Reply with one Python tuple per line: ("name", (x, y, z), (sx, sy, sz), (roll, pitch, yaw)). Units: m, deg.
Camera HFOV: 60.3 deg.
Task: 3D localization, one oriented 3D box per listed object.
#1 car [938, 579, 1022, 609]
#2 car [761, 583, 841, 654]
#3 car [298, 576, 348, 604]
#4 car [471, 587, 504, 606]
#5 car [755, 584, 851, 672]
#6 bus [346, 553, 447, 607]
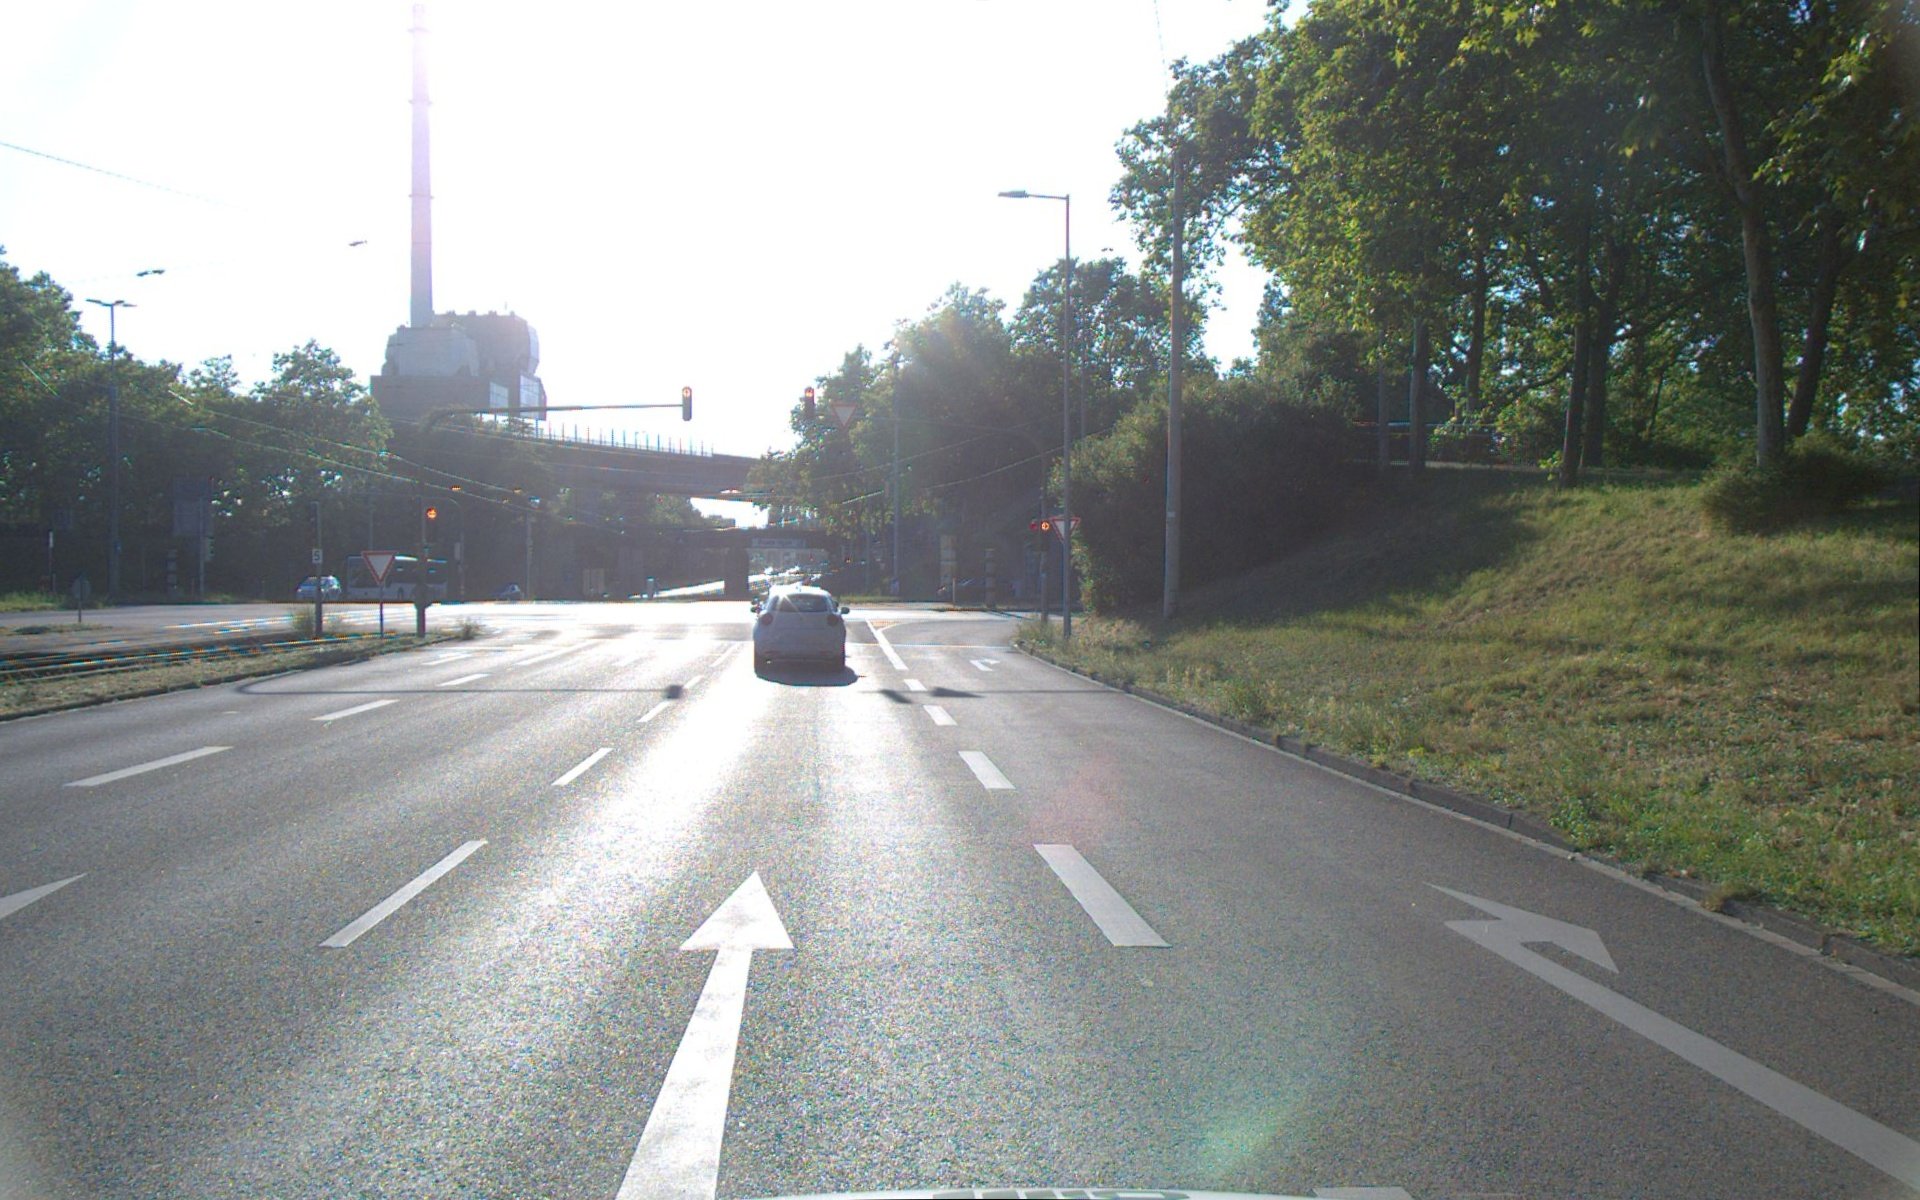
("car", (1.149, -0.358, 94.592), (4.511, 1.602, 1.683), (1, 1, -22))
("car", (-3.669, 0.368, 37.652), (1.681, 1.491, 4.201), (0, 1, -7))
("car", (-35.605, -0.566, 92.569), (1.576, 1.538, 4.003), (1, 1, -6))
("car", (-37.436, -0.309, 131.185), (1.574, 1.443, 4.006), (1, 1, -3))
("car", (-2.978, 0.480, 31.363), (1.703, 1.531, 3.996), (0, 1, -6))
("bus", (-36.404, -1.196, 107.494), (2.492, 3.185, 12.912), (0, -1, -2))
